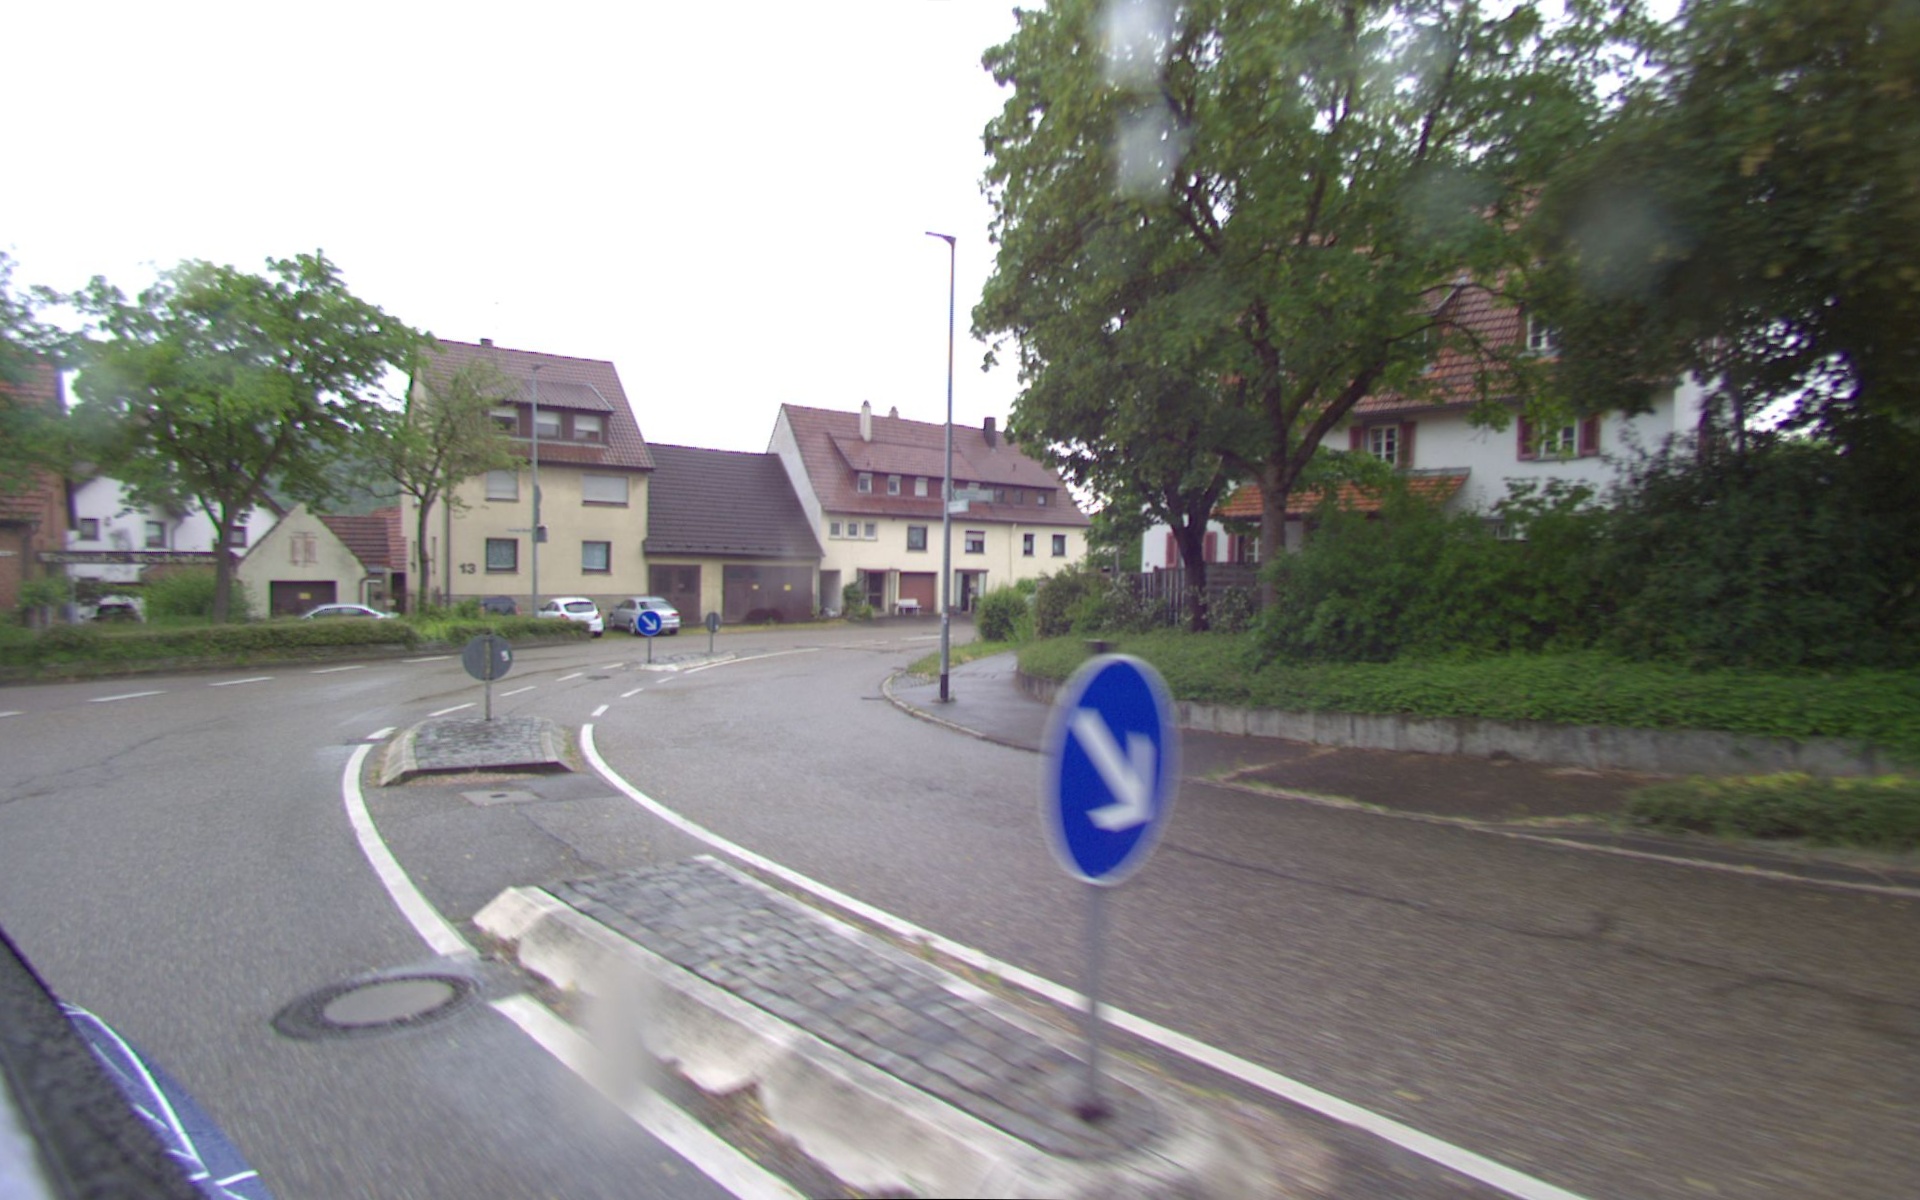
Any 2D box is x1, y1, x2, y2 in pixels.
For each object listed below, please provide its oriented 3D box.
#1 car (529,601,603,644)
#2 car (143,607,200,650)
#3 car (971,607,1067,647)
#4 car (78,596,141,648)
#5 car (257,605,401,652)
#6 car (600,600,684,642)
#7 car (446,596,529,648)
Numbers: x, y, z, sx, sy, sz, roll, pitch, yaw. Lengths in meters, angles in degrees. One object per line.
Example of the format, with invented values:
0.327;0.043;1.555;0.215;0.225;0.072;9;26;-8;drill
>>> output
-15.358;0.821;39.372;1.691;1.541;3.438;-1;1;-39;car
-30.185;1.053;38.824;1.575;1.507;4.009;-1;0;-36;car
2.675;1.167;45.527;3.935;1.541;2.005;-1;4;-38;car
-35.670;0.874;42.398;4.001;2.029;1.577;0;1;44;car
-22.229;0.956;35.688;4.195;1.450;1.913;-1;2;-36;car
-12.941;0.806;41.042;1.791;1.425;4.638;-1;2;-37;car
-17.689;0.776;37.813;1.722;1.594;4.006;-3;5;-41;car
